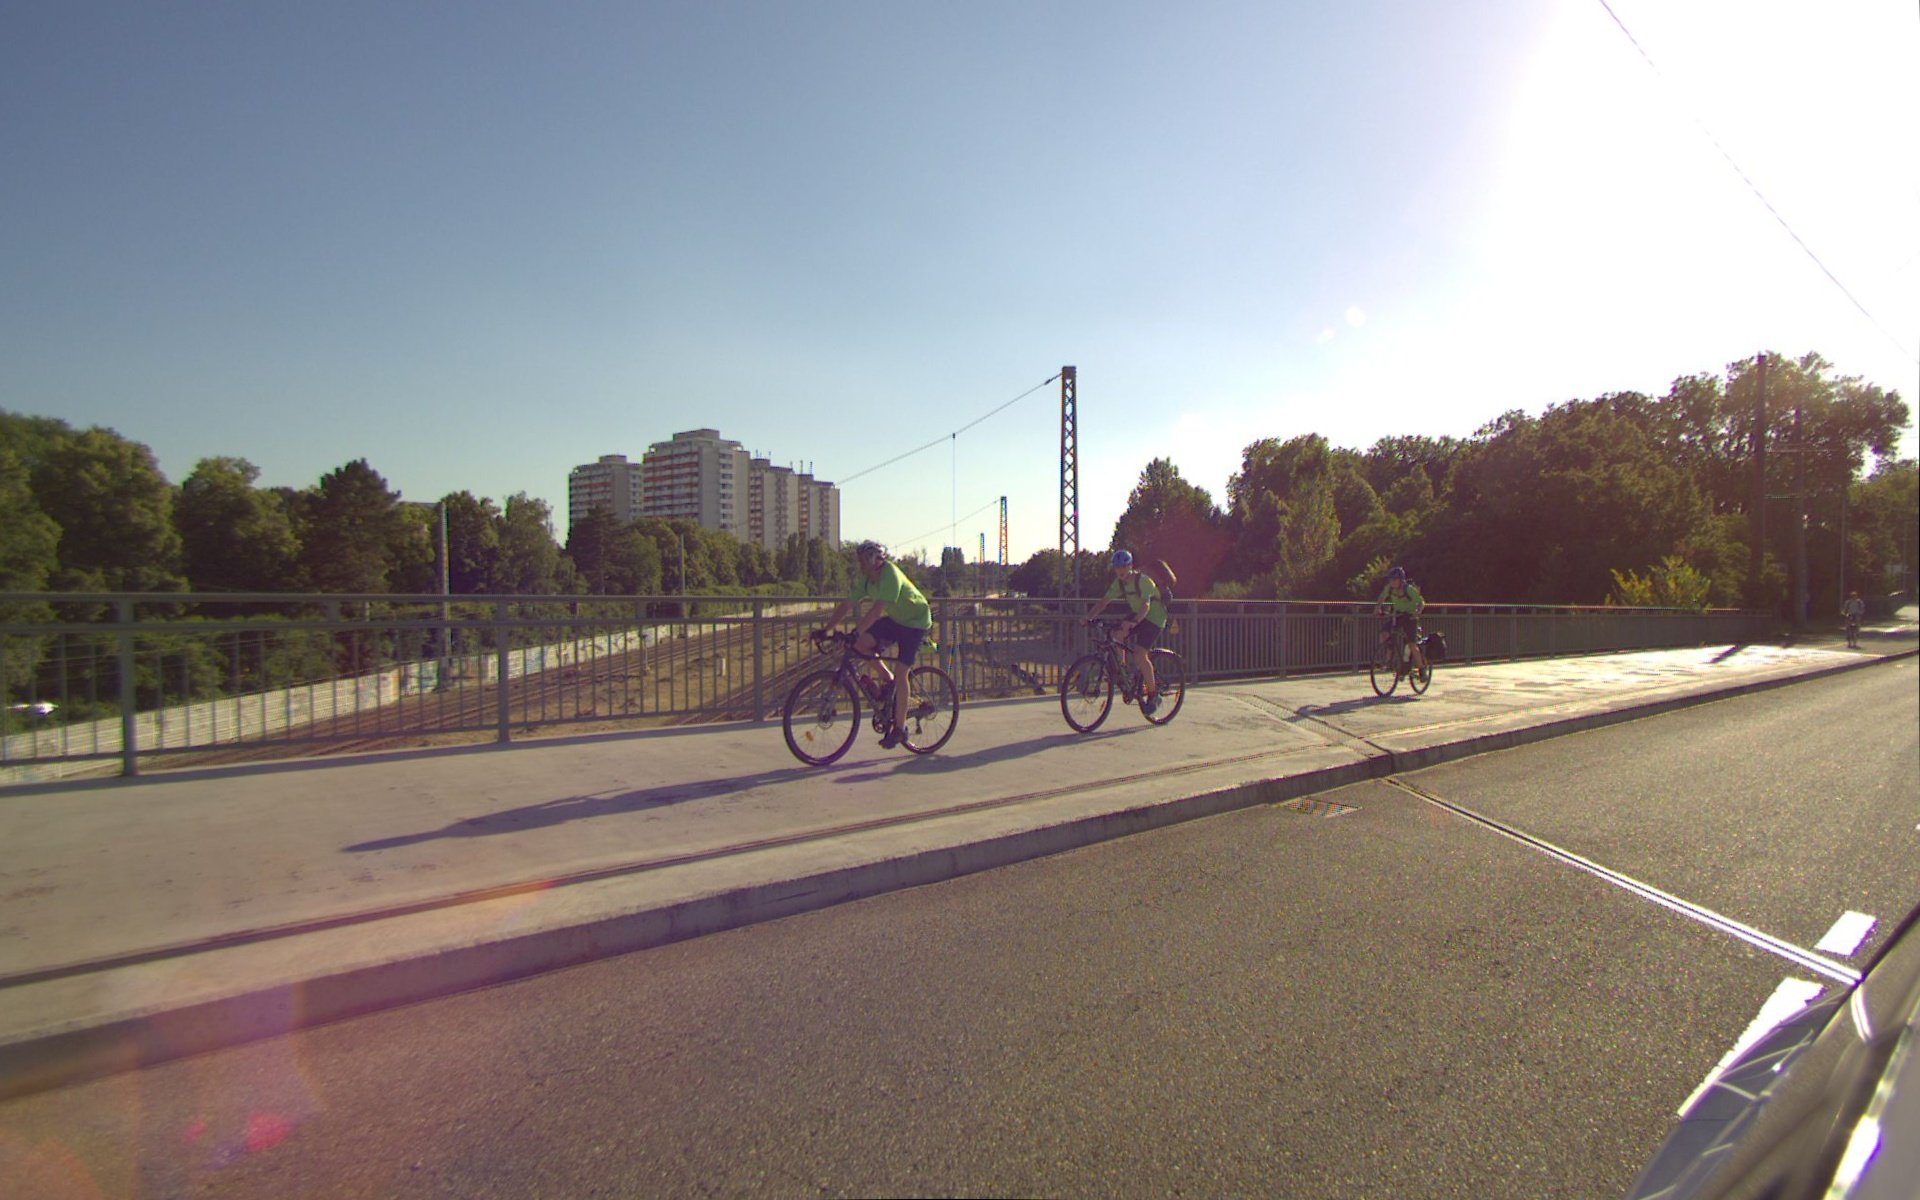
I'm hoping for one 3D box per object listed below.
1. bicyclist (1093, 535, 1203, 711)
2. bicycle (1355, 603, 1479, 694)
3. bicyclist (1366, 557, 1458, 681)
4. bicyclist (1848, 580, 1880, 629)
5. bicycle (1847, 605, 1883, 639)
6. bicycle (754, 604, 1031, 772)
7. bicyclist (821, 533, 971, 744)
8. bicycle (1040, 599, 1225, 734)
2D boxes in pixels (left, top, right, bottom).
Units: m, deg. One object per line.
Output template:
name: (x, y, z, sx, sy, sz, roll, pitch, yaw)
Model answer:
bicyclist: (1.824, 0.203, 9.808, 0.915, 1.612, 0.626, -1, 1, -41)
bicycle: (6.213, 0.620, 13.682, 2.177, 1.137, 0.684, 1, 0, -41)
bicyclist: (6.029, 0.243, 13.507, 0.881, 1.582, 0.813, 1, -1, -41)
bicyclist: (32.342, 0.173, 36.192, 1.182, 1.711, 0.731, 0, -2, -44)
bicycle: (32.346, 0.782, 36.149, 2.697, 1.137, 0.731, 0, -2, -44)
bicycle: (-0.465, 0.608, 7.907, 2.219, 1.136, 0.626, 0, 0, -40)
bicyclist: (-0.495, 0.275, 7.881, 0.988, 1.527, 0.626, 0, 0, -40)
bicycle: (1.681, 0.575, 9.635, 2.006, 1.136, 0.626, -1, 1, -41)
